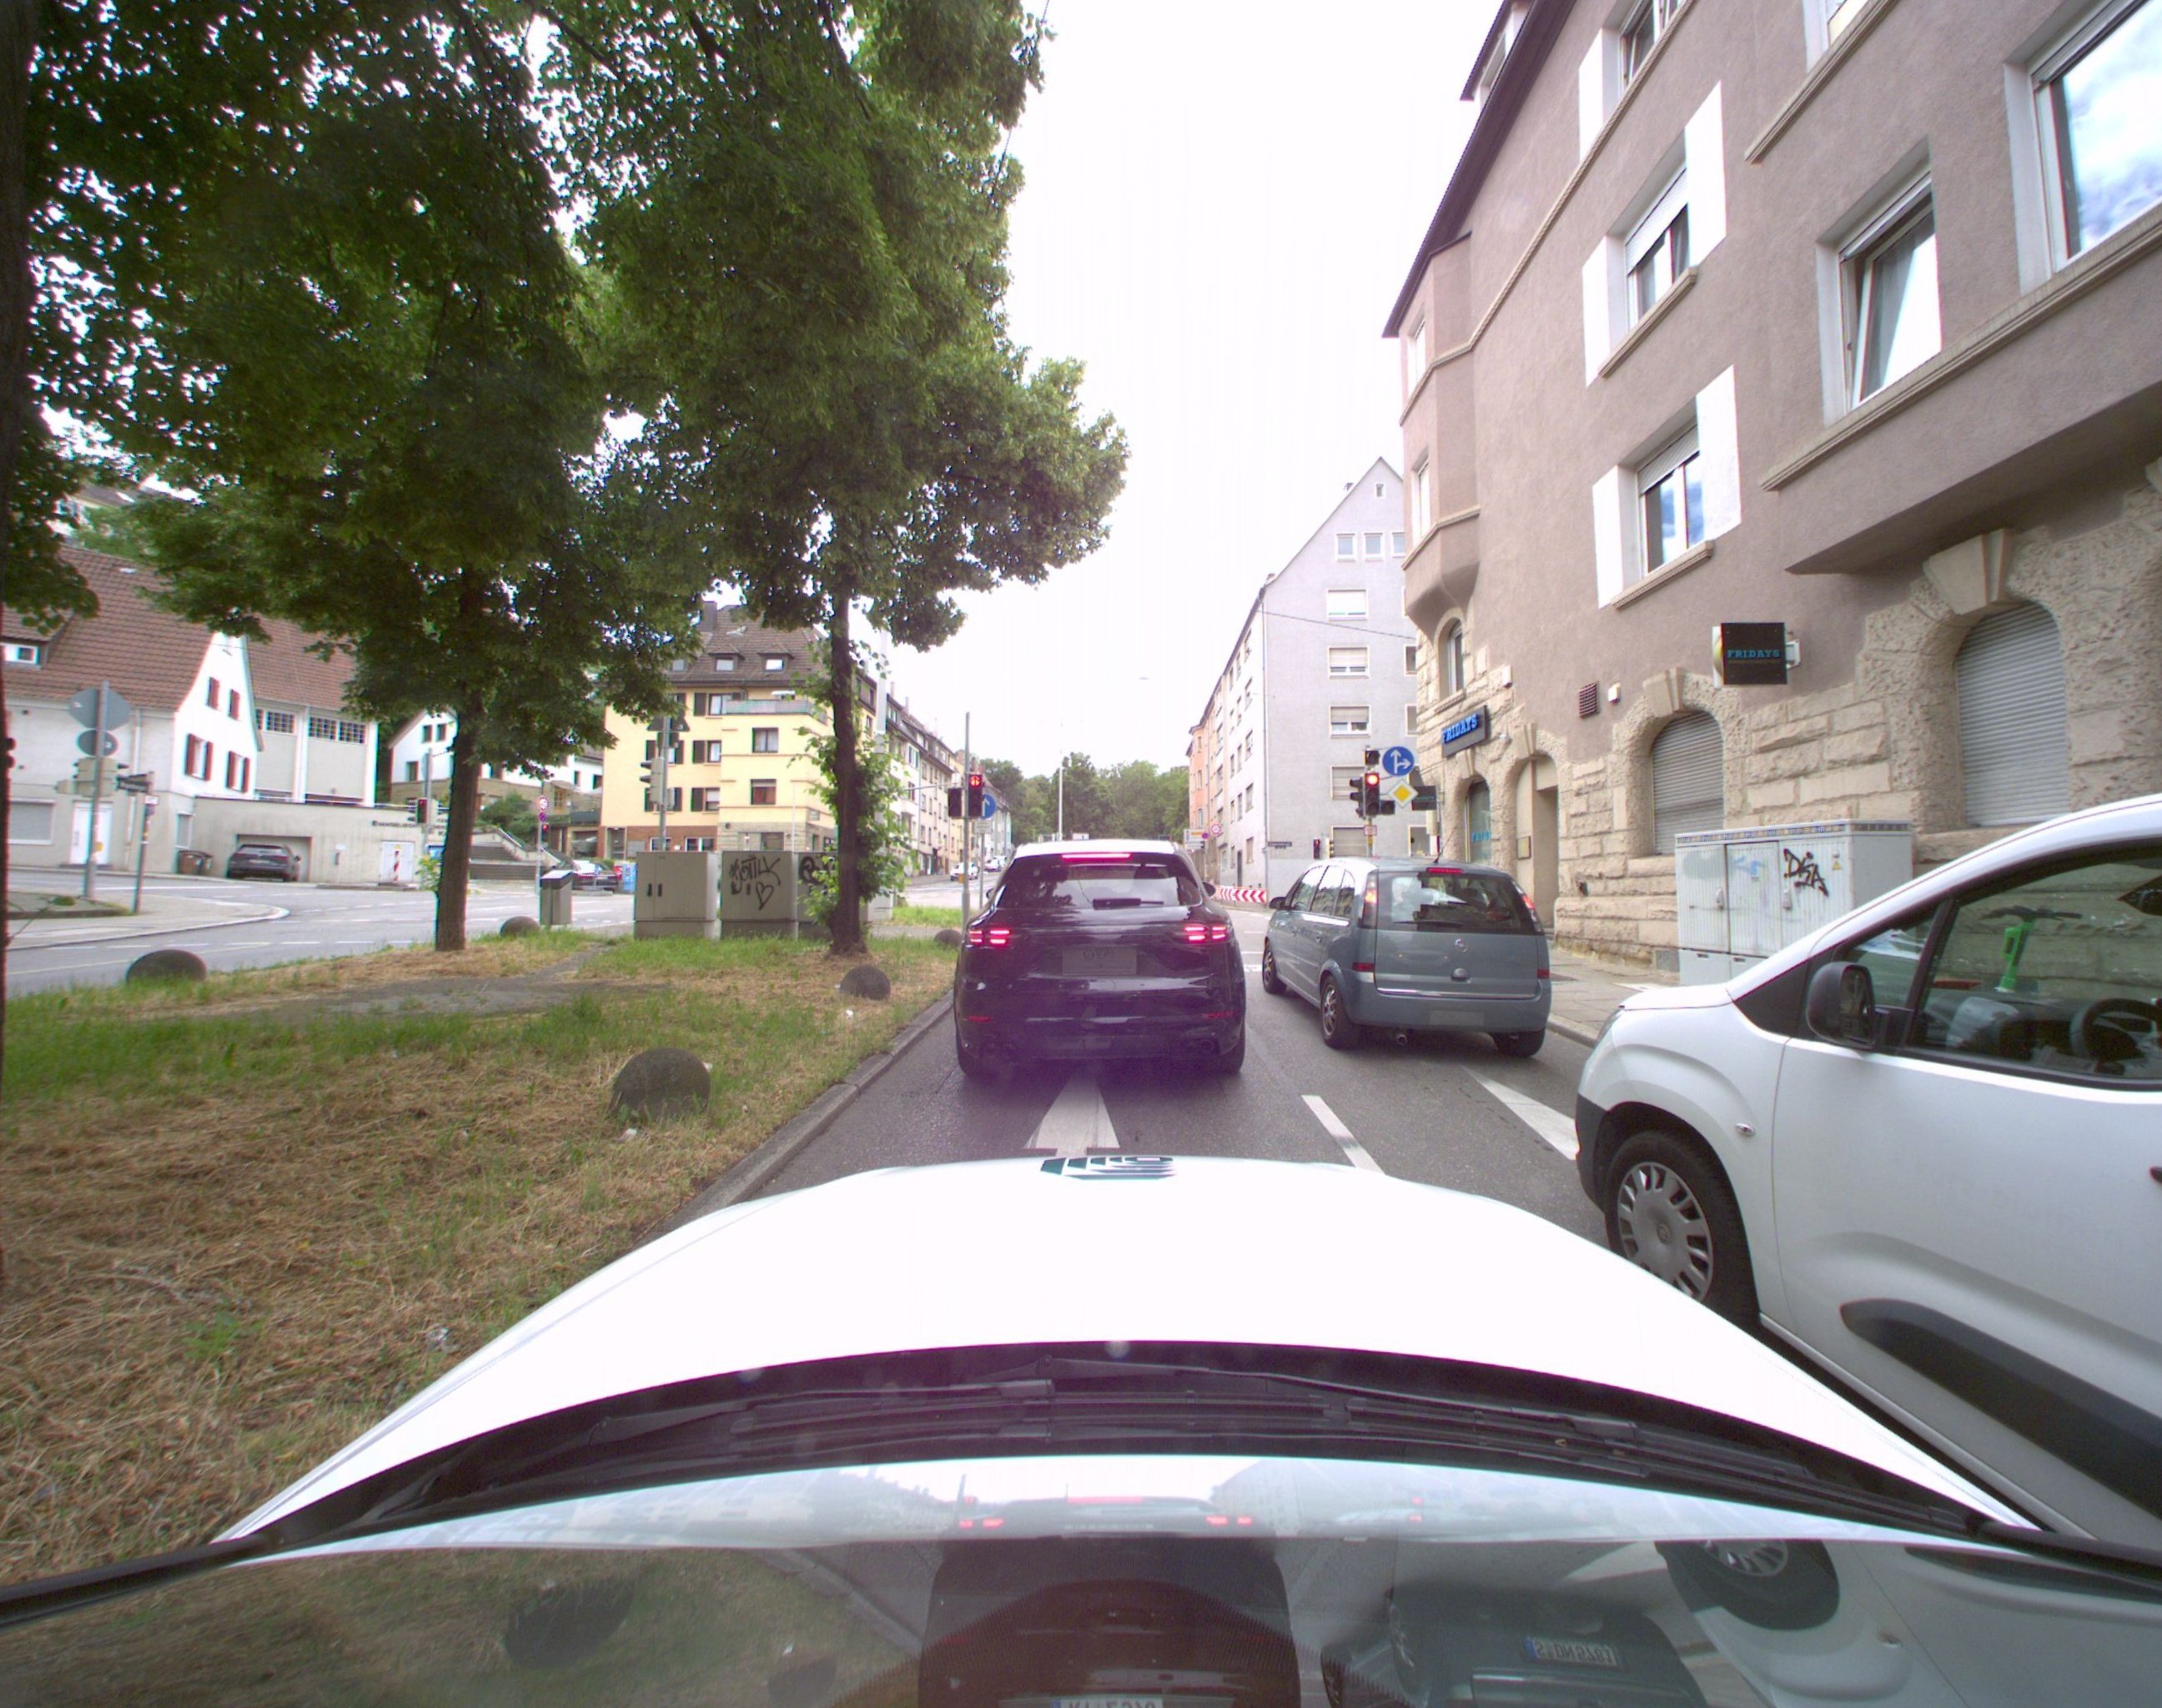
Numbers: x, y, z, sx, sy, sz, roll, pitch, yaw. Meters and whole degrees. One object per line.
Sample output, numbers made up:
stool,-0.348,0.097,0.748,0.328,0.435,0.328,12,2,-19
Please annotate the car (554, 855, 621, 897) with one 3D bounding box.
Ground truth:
car,-23.584,1.009,38.842,3.477,1.596,1.881,7,4,44

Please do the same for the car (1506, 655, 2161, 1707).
car,2.811,0.590,1.134,1.969,1.775,4.676,3,0,0

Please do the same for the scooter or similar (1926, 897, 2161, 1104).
scooter or similar,6.437,0.866,5.265,0.524,1.104,1.424,-1,-1,4

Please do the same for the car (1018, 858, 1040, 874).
car,-5.659,1.283,88.702,1.966,1.610,4.560,0,0,2

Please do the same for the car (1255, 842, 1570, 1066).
car,2.873,0.756,7.923,1.622,1.598,3.670,3,0,2

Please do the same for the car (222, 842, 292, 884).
car,-32.189,0.350,31.799,3.019,1.405,1.681,2,-4,42

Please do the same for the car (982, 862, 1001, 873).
car,-10.835,1.639,99.294,1.732,1.387,3.815,0,0,2

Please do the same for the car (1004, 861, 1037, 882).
car,-4.308,1.240,58.407,1.854,1.388,4.096,0,0,2

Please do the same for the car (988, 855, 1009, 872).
car,-10.633,1.228,105.135,2.008,2.045,4.669,0,-1,2

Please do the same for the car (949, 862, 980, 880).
car,-9.736,1.407,68.116,1.836,1.486,3.901,0,0,3

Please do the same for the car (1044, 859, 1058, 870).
car,-4.377,1.595,120.226,1.611,1.480,3.828,-1,-2,5

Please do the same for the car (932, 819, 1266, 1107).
car,0.166,0.660,6.836,1.948,1.674,4.001,-1,-1,2
